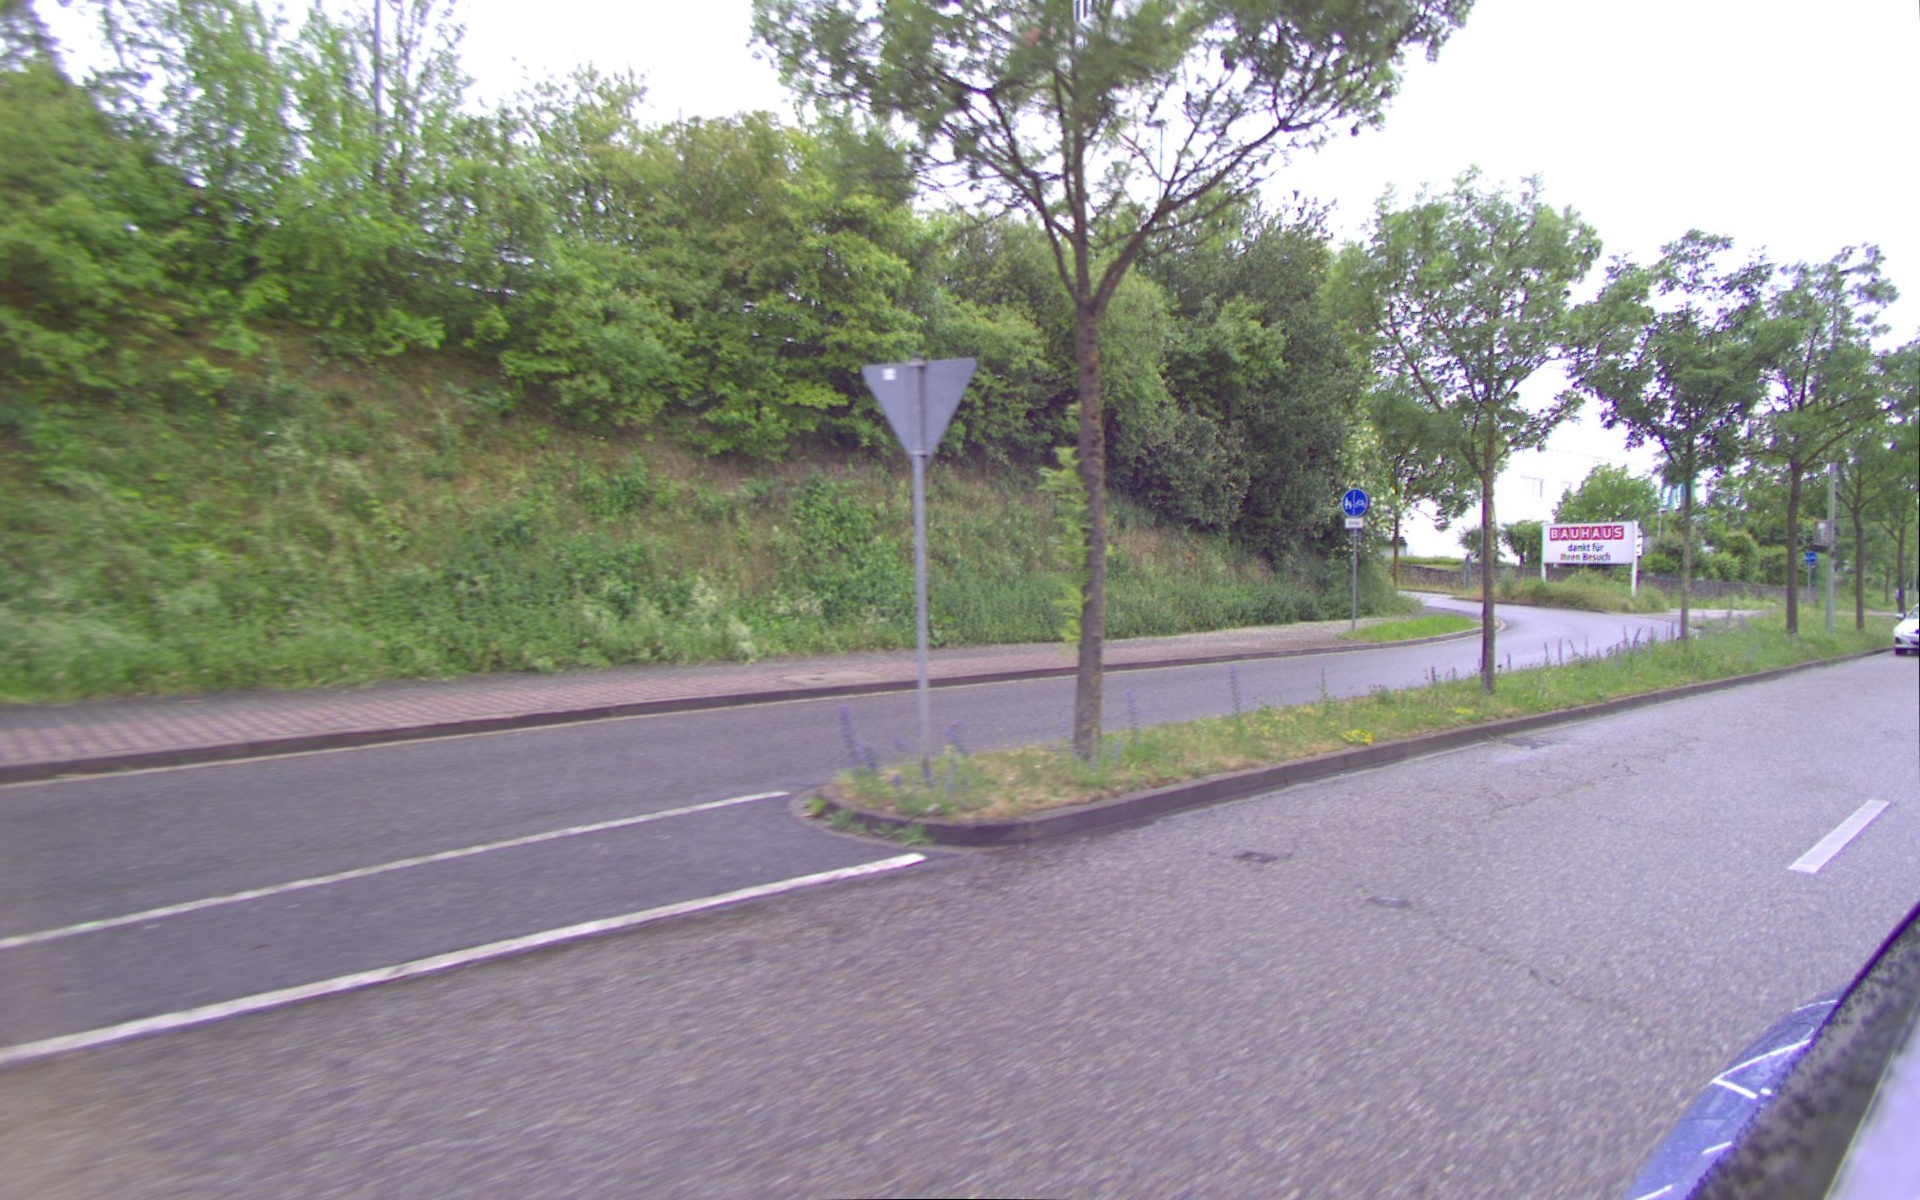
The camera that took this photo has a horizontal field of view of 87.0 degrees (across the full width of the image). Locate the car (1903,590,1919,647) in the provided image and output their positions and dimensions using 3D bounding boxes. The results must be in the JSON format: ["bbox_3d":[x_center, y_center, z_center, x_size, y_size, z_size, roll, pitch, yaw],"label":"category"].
[{"bbox_3d":[27.322,0.489,27.579,3.928,1.500,1.863,0,1,-39],"label":"car"}]
